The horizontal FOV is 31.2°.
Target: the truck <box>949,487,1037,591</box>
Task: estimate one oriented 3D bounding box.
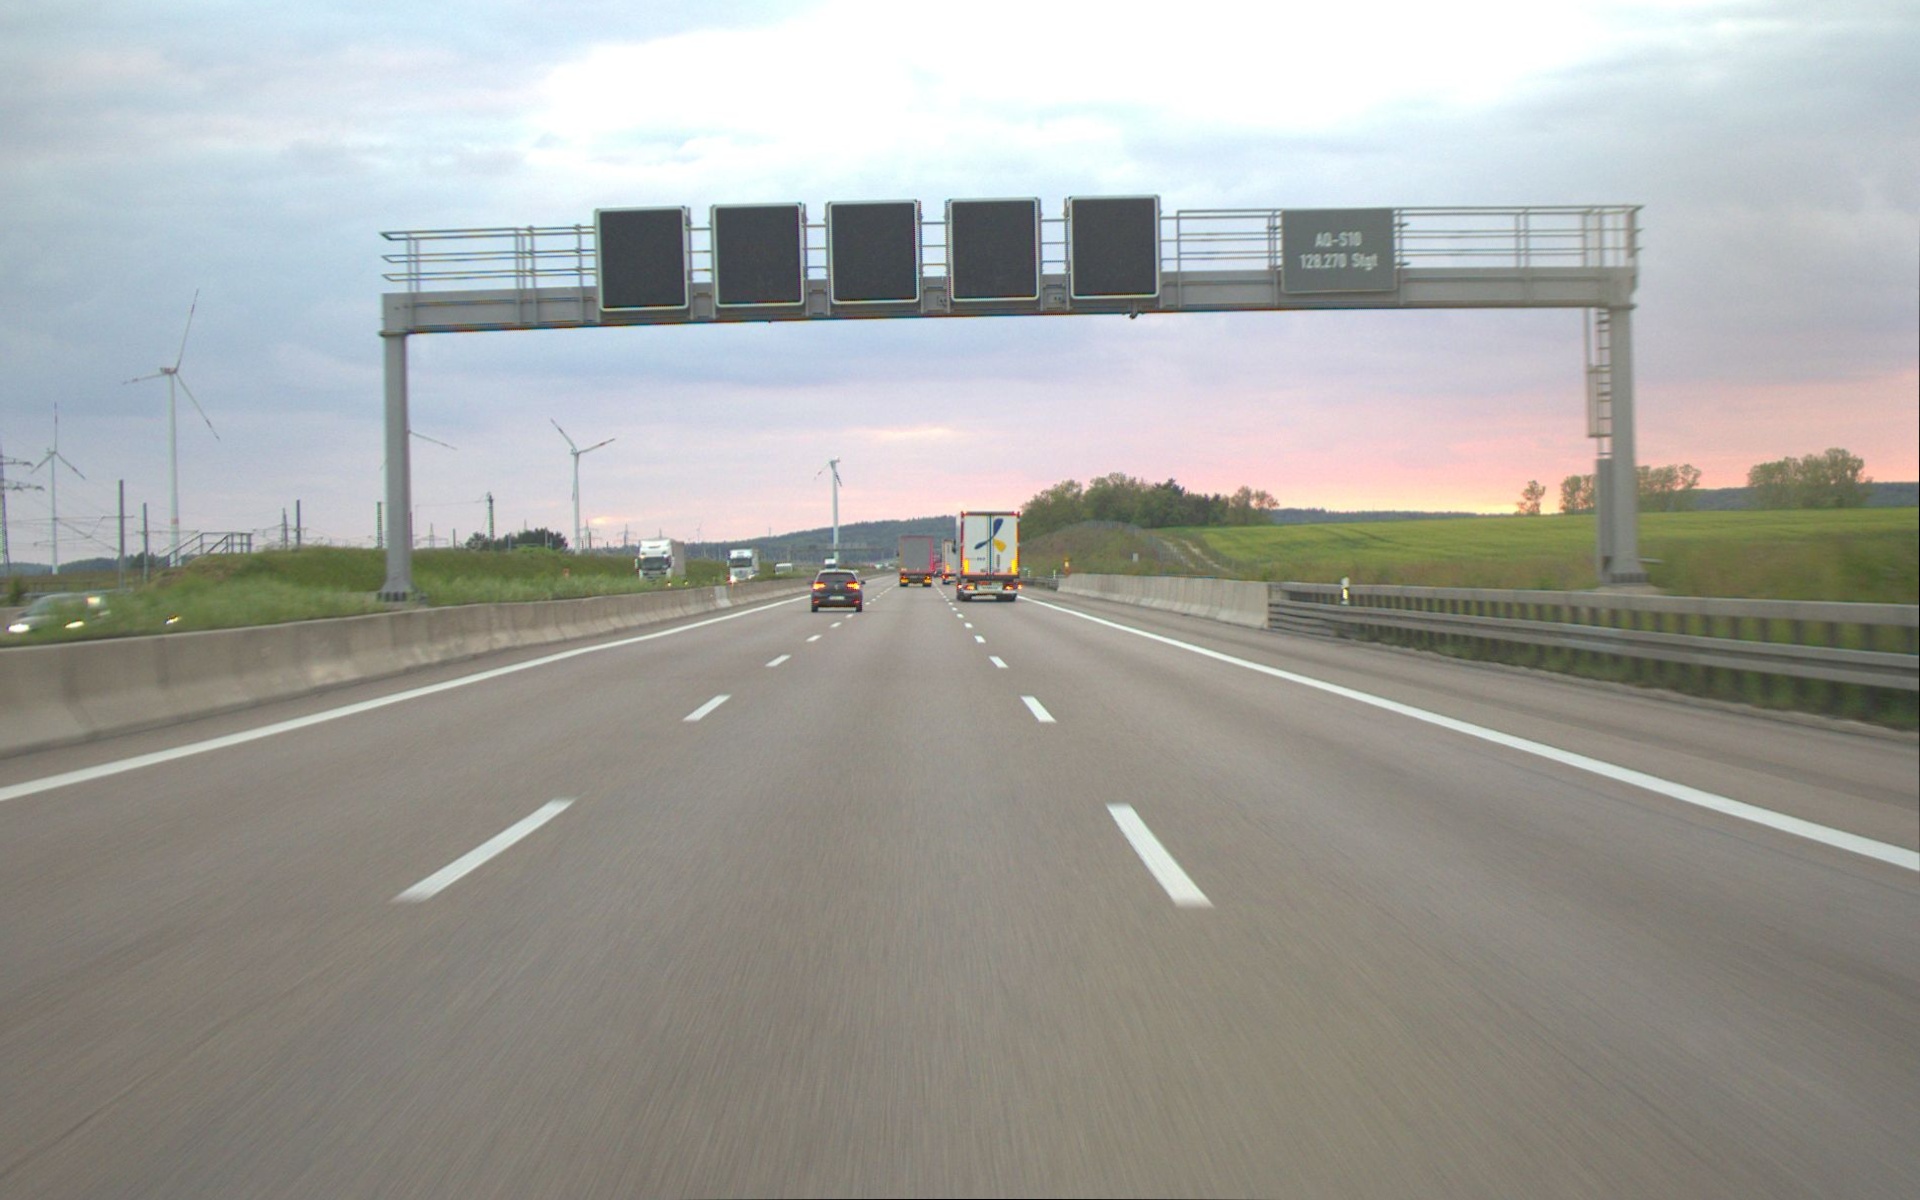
[{"bbox_3d":[1.427,-2.757,156.625,3.675,4.549,10.982,0,1,-1],"label":"truck"}]

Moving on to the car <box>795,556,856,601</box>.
[{"bbox_3d":[-4.593,-0.744,117.552,1.987,1.425,4.000,-1,1,-1],"label":"car"}]

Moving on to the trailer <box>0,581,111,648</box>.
[{"bbox_3d":[-21.069,0.320,79.708,1.717,1.459,4.000,-1,1,1],"label":"trailer"}]
